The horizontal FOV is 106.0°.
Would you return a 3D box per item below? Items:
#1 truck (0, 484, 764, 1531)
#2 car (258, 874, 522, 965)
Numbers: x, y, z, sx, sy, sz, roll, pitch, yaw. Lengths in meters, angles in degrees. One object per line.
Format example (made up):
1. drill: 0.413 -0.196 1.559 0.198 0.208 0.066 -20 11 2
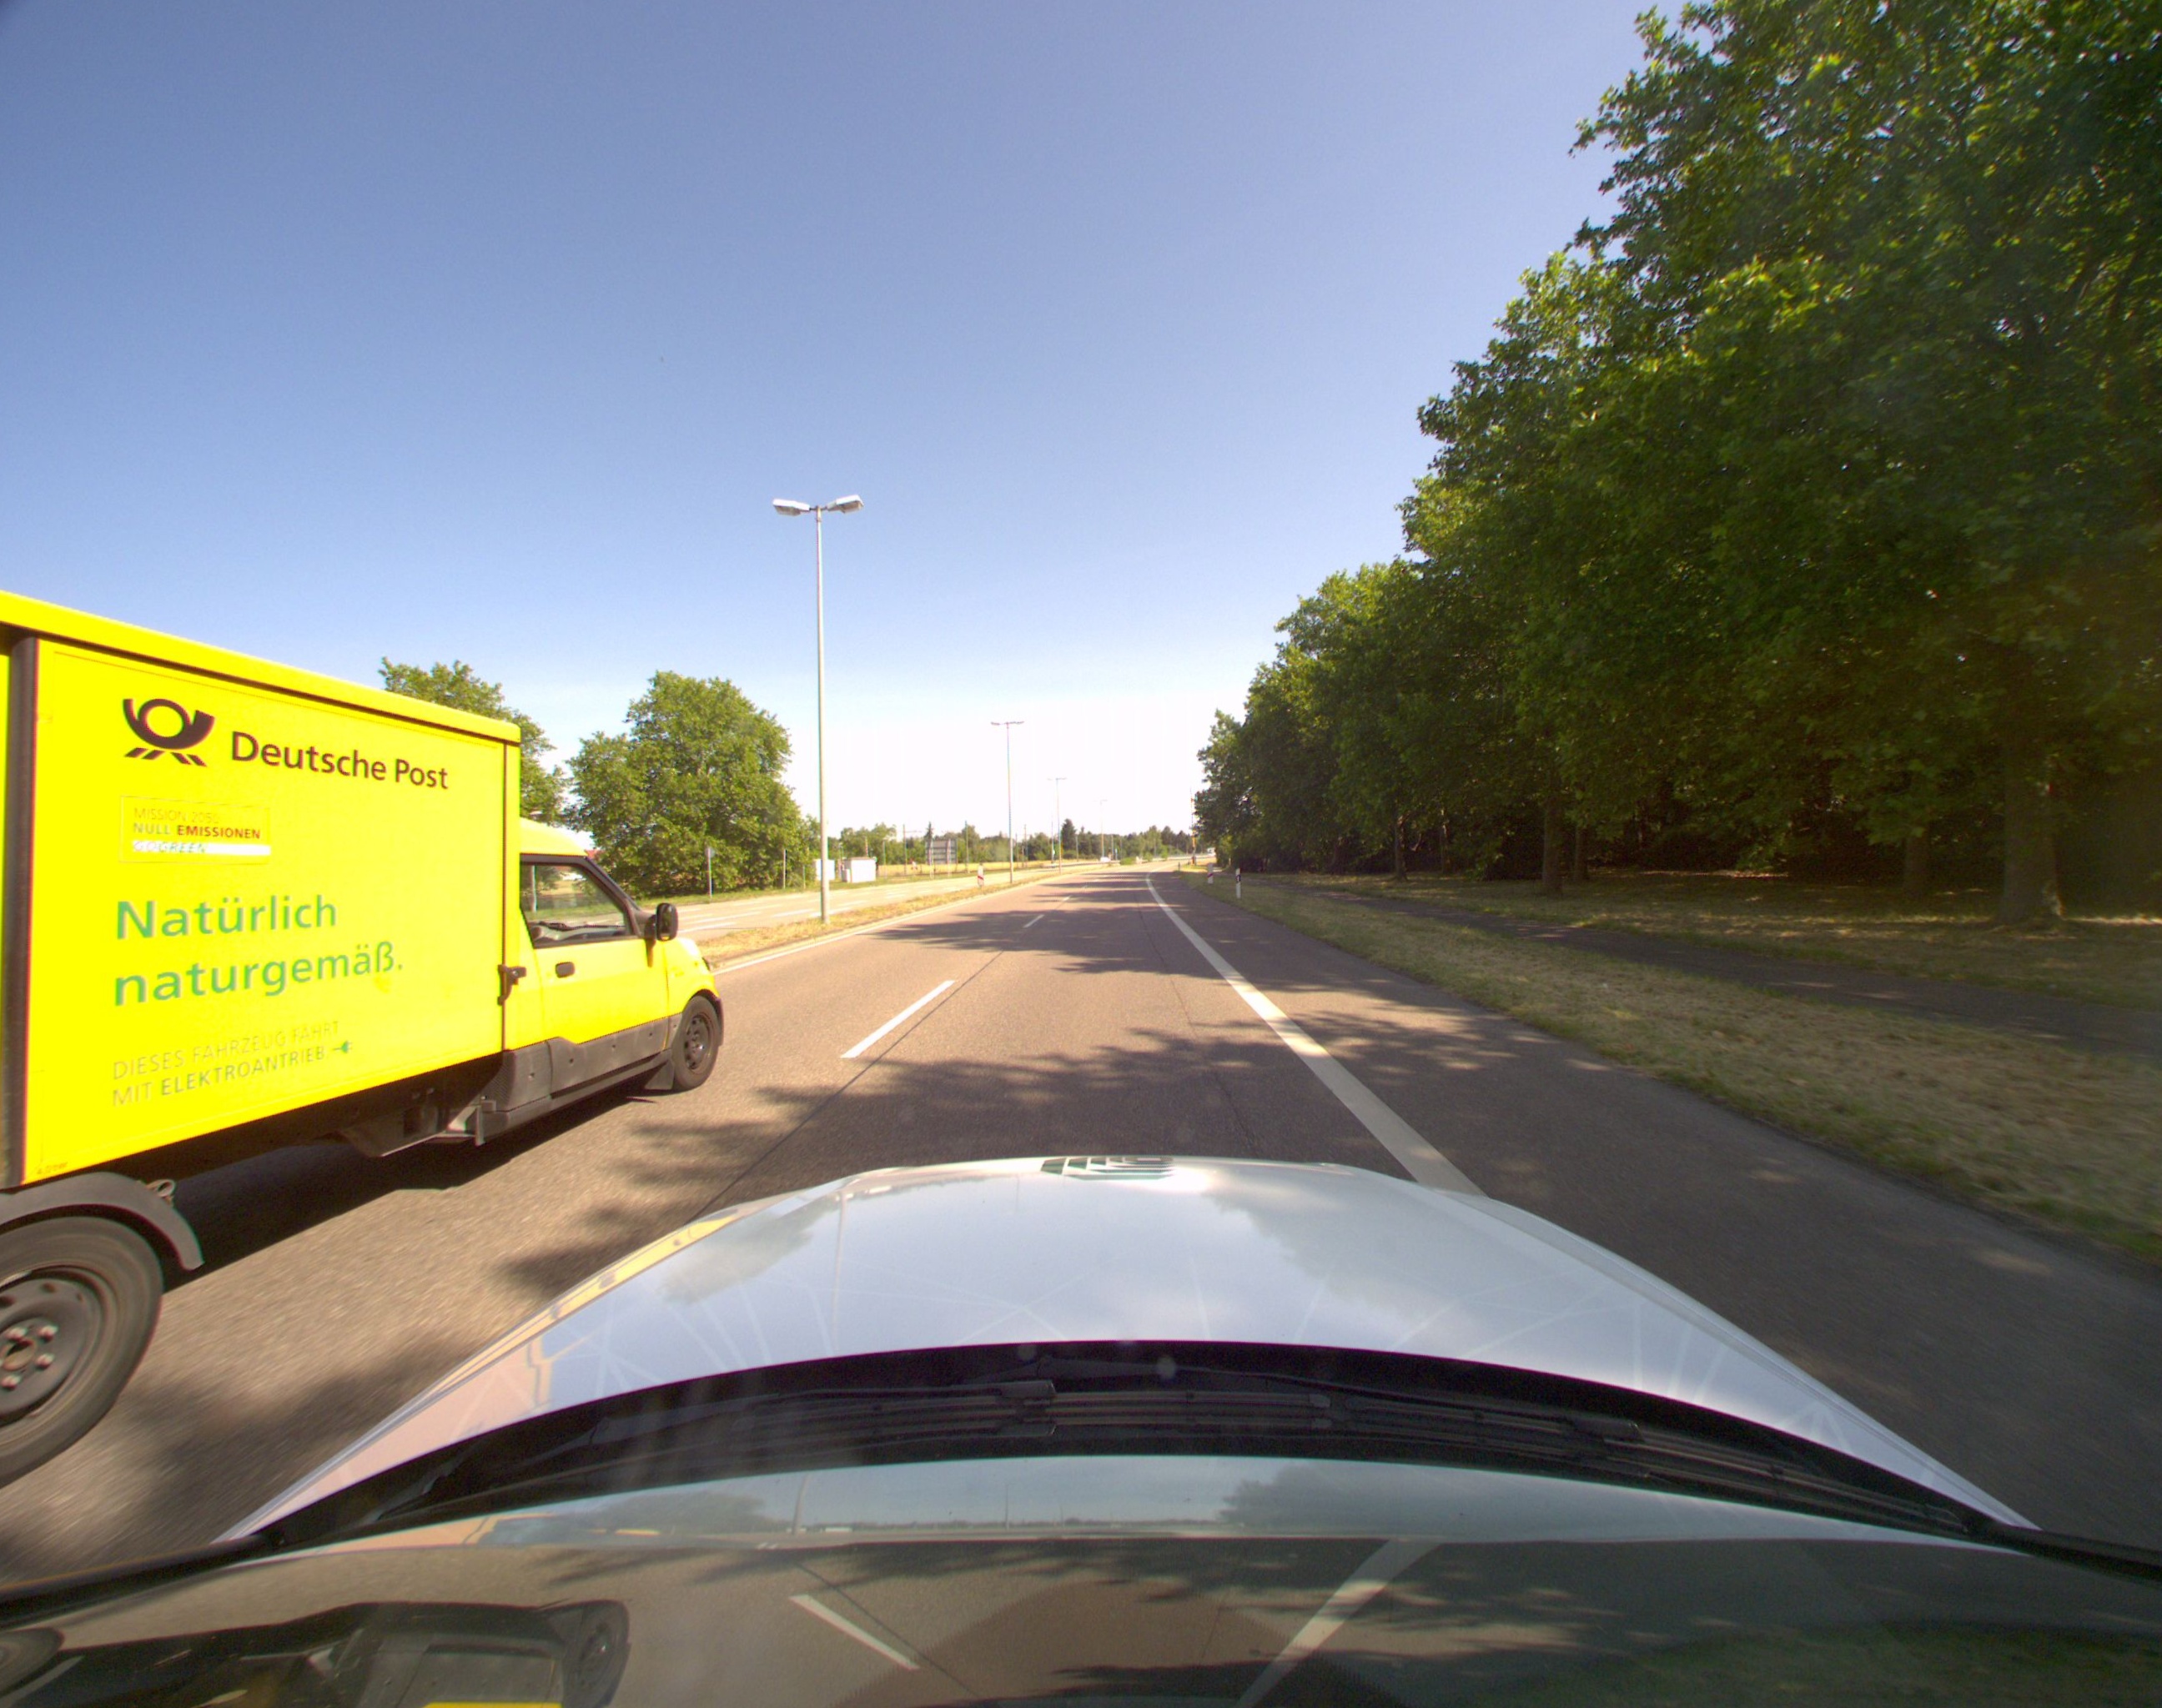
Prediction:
1. truck: -3.576 0.378 3.380 2.104 2.457 5.917 -1 0 1
2. car: -15.411 1.365 18.589 1.974 1.660 4.557 -2 0 2
